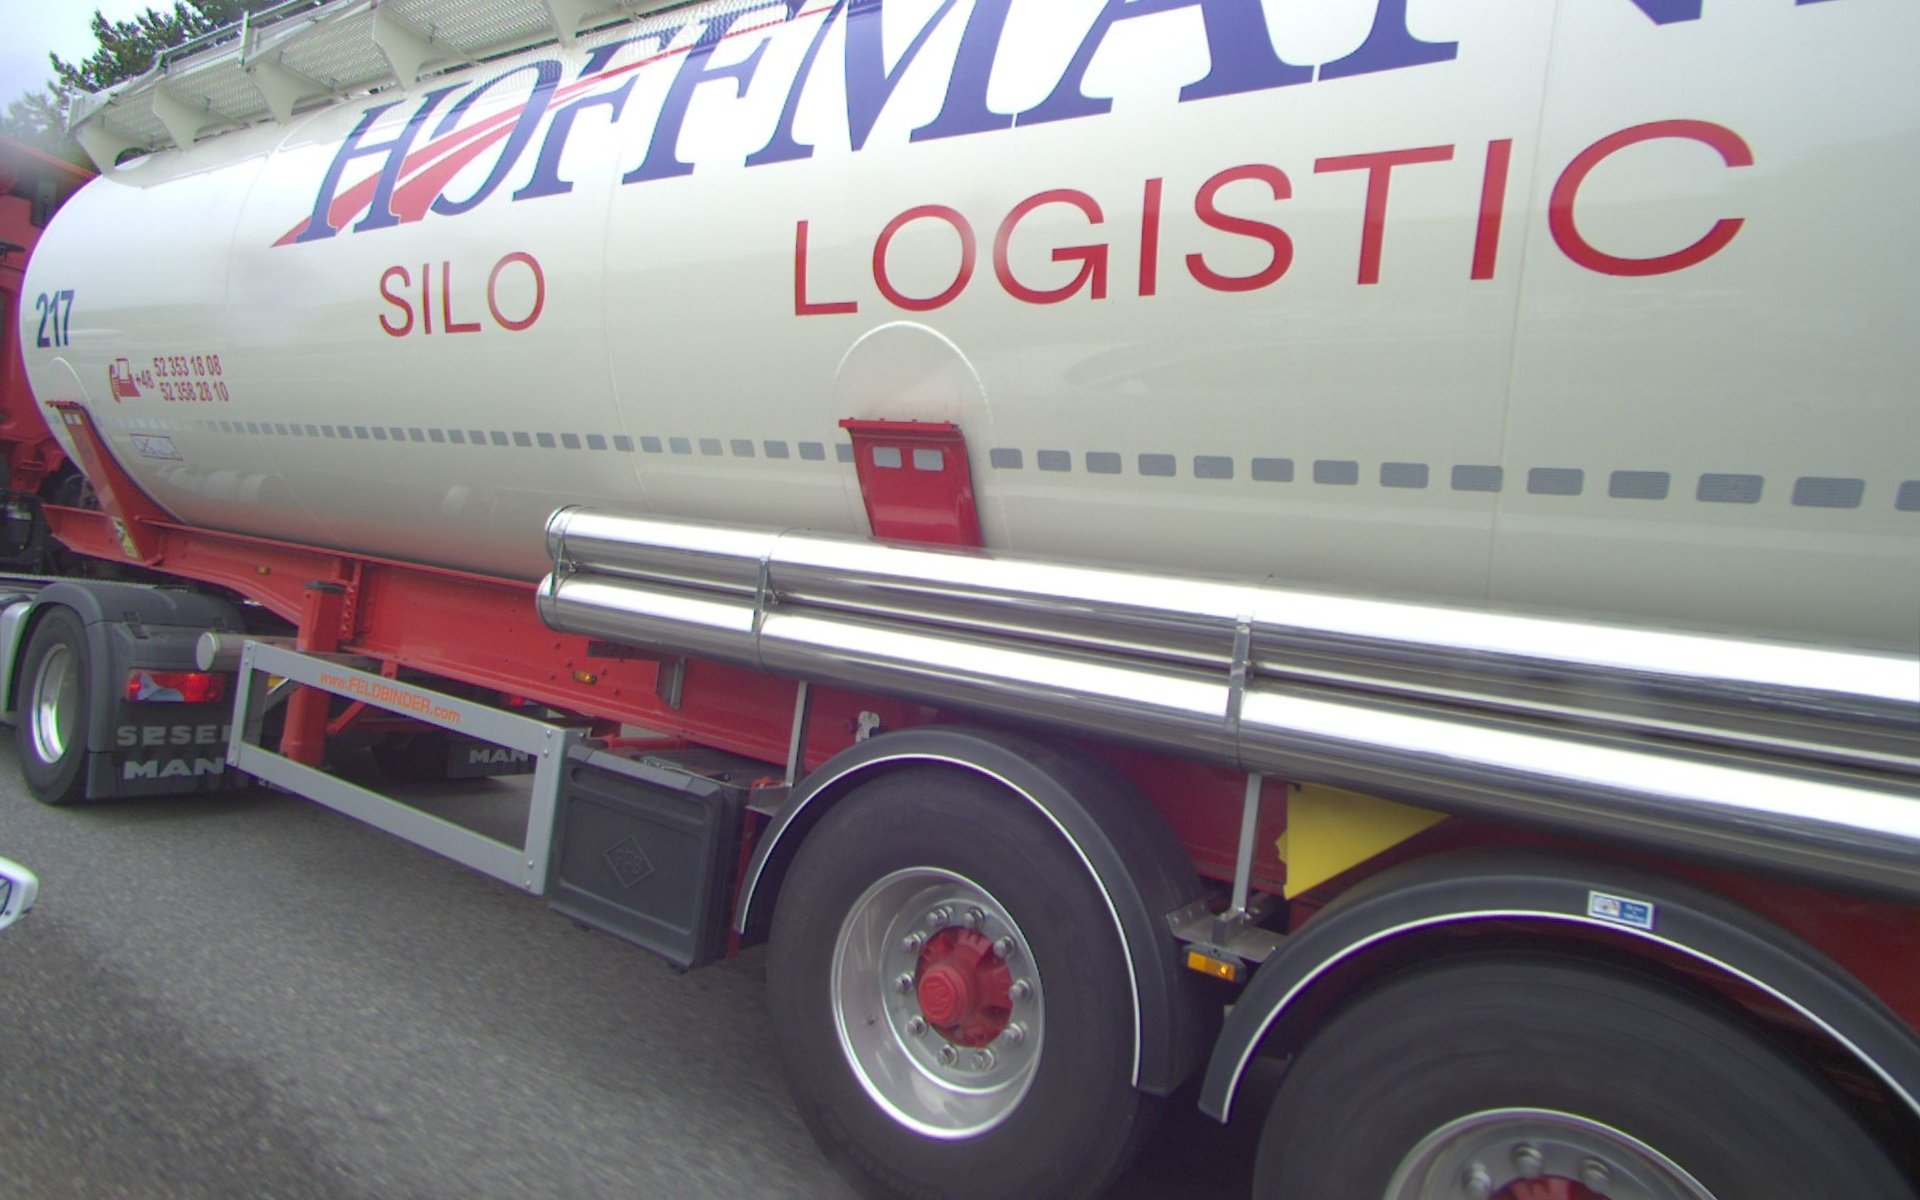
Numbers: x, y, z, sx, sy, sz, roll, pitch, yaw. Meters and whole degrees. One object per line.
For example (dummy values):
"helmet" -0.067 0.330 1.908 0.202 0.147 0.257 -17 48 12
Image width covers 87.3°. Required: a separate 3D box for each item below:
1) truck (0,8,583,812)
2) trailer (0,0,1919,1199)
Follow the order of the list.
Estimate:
"truck" -6.367 -1.160 7.762 6.447 3.960 2.699 7 0 31
"trailer" -0.455 -0.484 4.082 12.911 3.986 2.672 7 -1 31
